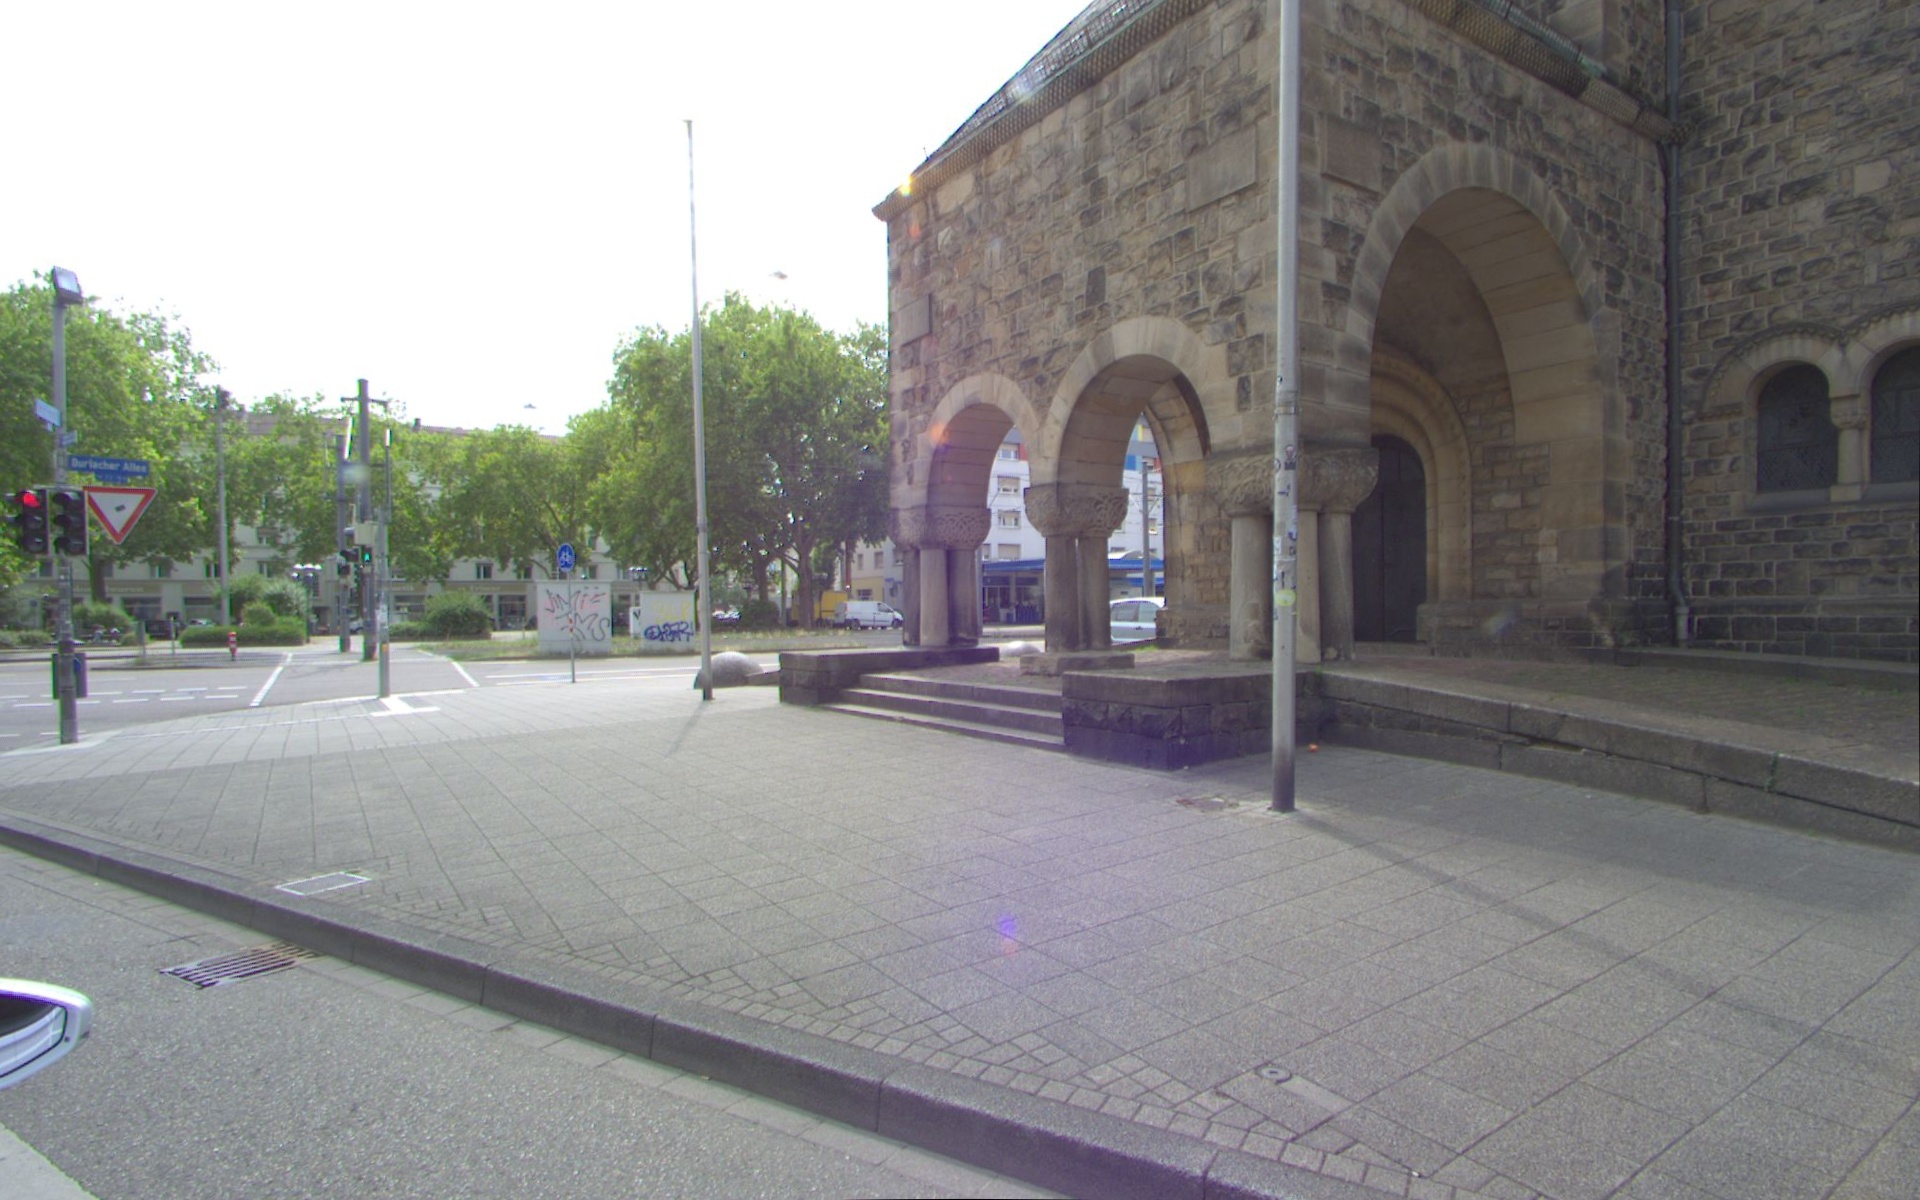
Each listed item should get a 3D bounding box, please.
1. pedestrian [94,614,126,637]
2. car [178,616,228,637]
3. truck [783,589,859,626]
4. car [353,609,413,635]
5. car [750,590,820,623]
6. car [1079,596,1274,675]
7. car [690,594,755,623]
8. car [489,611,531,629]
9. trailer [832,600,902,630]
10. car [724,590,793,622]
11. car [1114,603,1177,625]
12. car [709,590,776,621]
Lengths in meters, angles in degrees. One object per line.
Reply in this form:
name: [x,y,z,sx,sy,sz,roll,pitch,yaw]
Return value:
pedestrian: [-48.033,1.460,56.586,1.422,1.252,1.087,-1,1,37]
car: [-56.957,1.950,75.339,3.949,1.523,1.986,-1,0,37]
truck: [-10.330,0.554,73.819,3.040,2.612,6.468,-1,0,-34]
car: [-44.516,1.653,77.248,3.946,1.908,1.846,-1,0,-34]
car: [-14.505,0.548,83.007,5.269,2.618,2.165,0,-1,-36]
car: [4.689,0.719,22.169,1.992,1.563,4.002,0,0,-33]
car: [-21.990,0.801,92.681,5.269,2.618,2.482,0,-1,-36]
car: [-39.399,1.719,87.645,3.949,1.523,1.760,-1,0,37]
trailer: [-6.246,1.023,67.618,4.377,1.951,1.843,0,0,-33]
car: [-17.290,0.512,86.185,5.269,2.618,2.482,0,-1,-36]
car: [14.115,1.049,76.139,4.554,1.535,1.985,0,-1,-31]
car: [-19.194,0.517,88.413,5.269,2.618,2.482,0,-1,-36]
